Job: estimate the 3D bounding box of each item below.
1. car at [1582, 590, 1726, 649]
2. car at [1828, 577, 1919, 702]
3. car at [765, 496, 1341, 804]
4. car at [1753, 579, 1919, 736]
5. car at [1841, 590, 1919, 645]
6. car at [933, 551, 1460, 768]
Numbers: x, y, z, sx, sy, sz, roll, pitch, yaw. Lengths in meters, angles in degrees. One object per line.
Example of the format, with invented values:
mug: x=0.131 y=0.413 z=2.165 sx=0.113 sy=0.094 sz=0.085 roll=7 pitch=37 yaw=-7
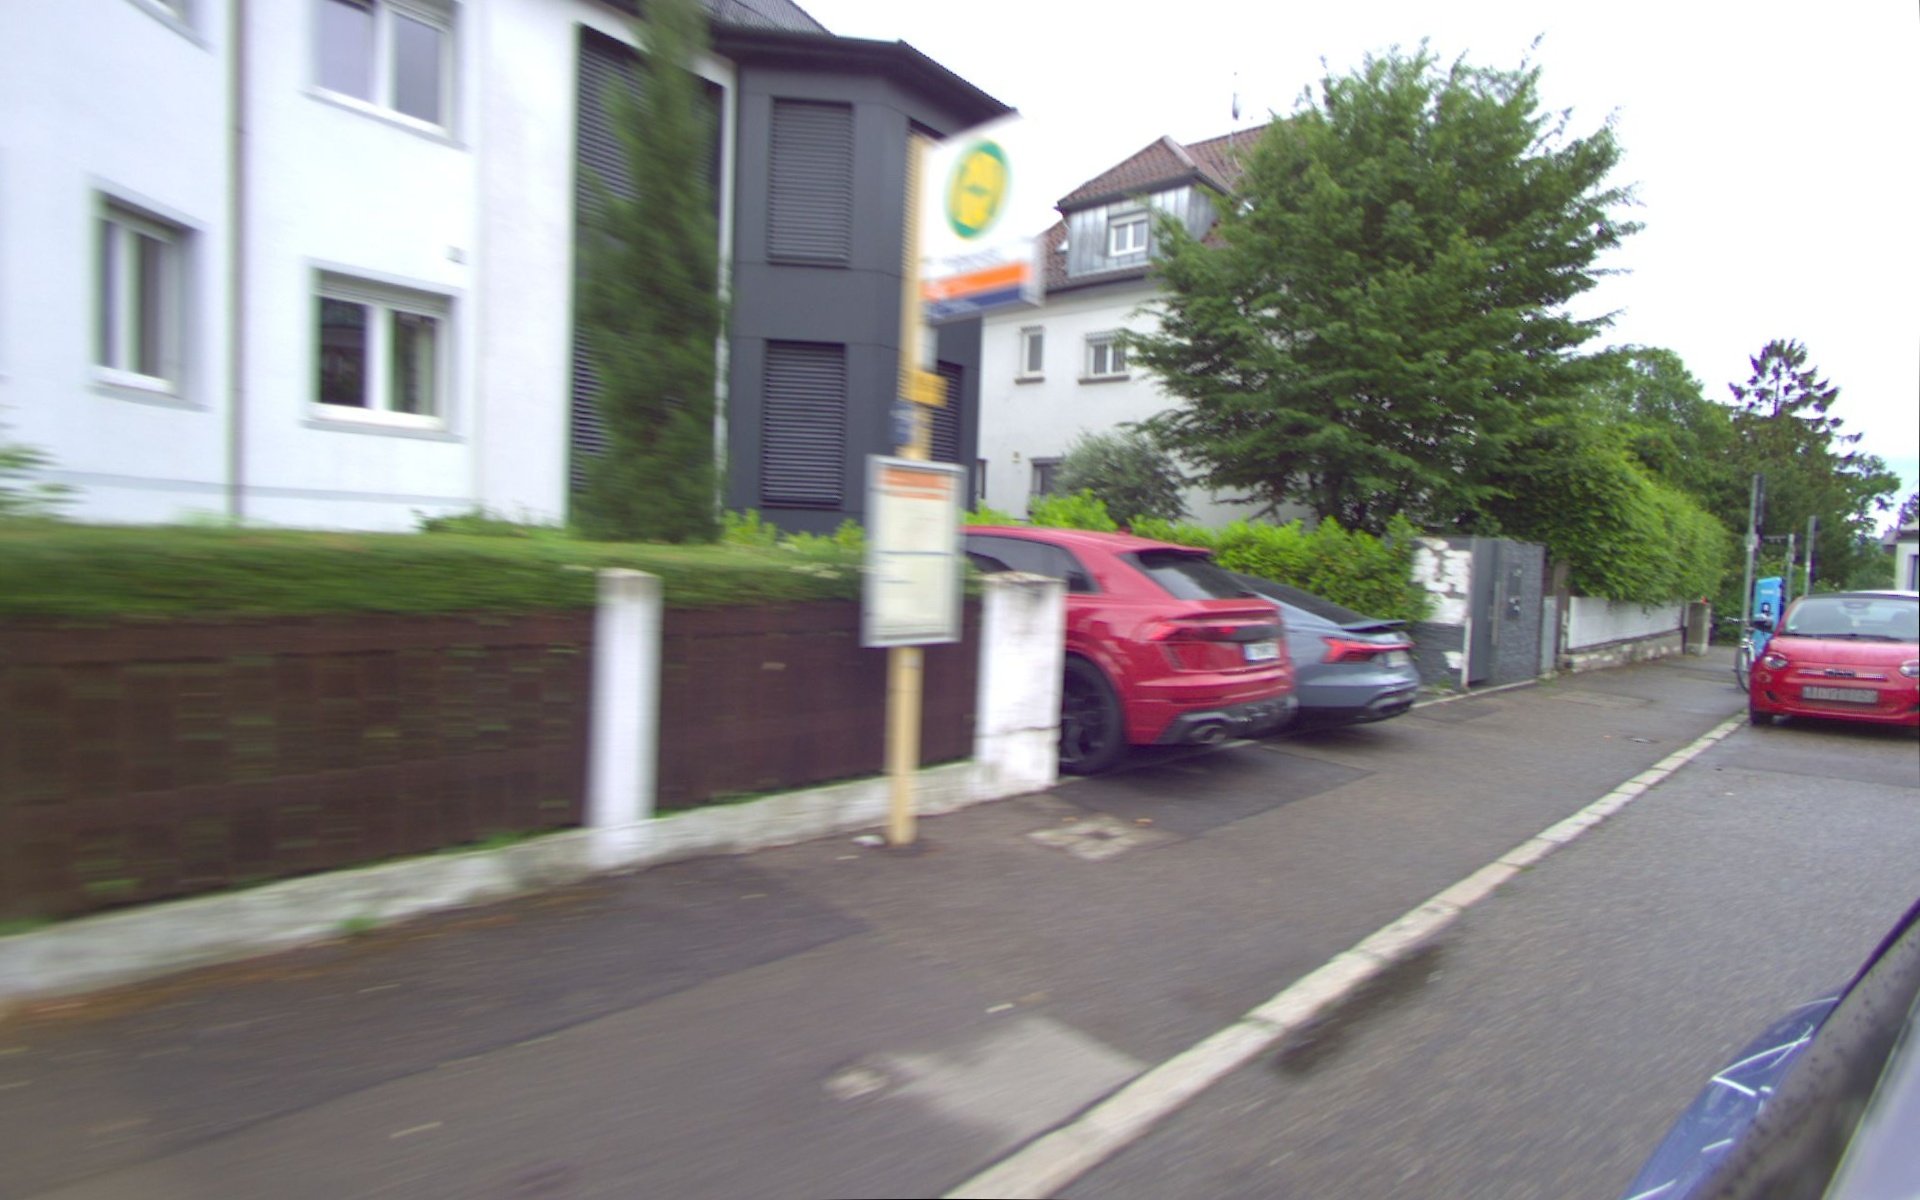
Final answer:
car: x=24.620 y=0.623 z=35.979 sx=3.989 sy=1.883 sz=1.743 roll=2 pitch=2 yaw=45
car: x=14.599 y=0.533 z=15.460 sx=1.745 sy=1.693 sz=4.573 roll=2 pitch=1 yaw=44
car: x=0.570 y=0.155 z=7.974 sx=4.070 sy=1.771 sz=1.971 roll=5 pitch=4 yaw=40
car: x=10.536 y=0.571 z=11.697 sx=3.481 sy=1.556 sz=1.613 roll=0 pitch=1 yaw=-43
car: x=27.248 y=0.525 z=28.628 sx=1.298 sy=1.459 sz=3.267 roll=6 pitch=-2 yaw=-36
car: x=2.103 y=0.375 z=9.809 sx=4.543 sy=1.433 sz=1.971 roll=5 pitch=4 yaw=40
